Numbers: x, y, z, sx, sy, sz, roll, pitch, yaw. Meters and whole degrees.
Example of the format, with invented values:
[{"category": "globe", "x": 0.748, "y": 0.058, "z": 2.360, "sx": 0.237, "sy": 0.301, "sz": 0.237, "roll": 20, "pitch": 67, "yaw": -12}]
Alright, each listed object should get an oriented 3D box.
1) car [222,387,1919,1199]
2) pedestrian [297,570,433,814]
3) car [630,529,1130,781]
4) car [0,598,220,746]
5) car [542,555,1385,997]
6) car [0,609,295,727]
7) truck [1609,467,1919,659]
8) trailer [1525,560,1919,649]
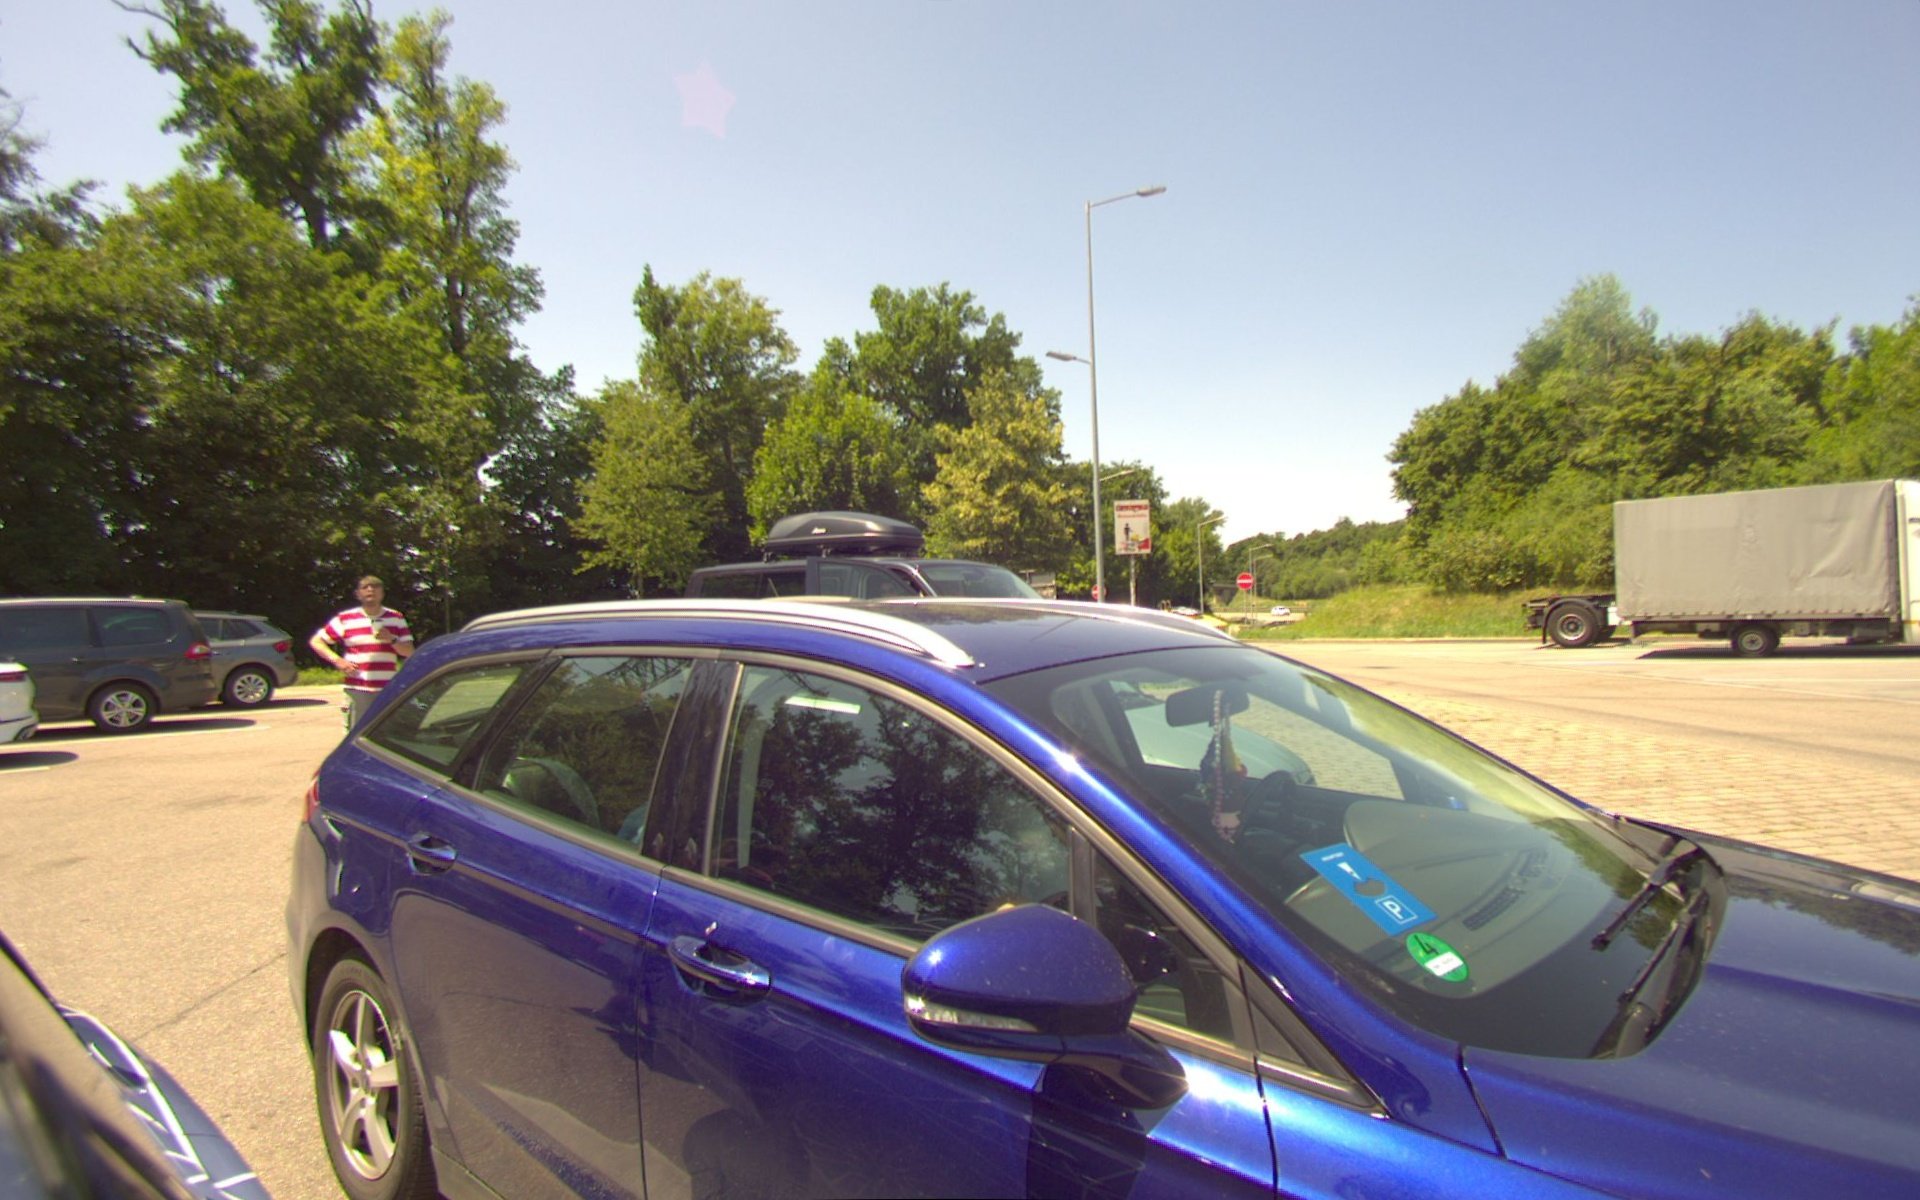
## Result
[{"category": "car", "x": 0.246, "y": 0.630, "z": 2.068, "sx": 4.569, "sy": 1.482, "sz": 1.735, "roll": -3, "pitch": 0, "yaw": 40}, {"category": "pedestrian", "x": -4.636, "y": 0.665, "z": 7.885, "sx": 0.744, "sy": 1.767, "sz": 0.786, "roll": -1, "pitch": 0, "yaw": -44}, {"category": "car", "x": -0.879, "y": 0.493, "z": 9.654, "sx": 4.558, "sy": 1.912, "sz": 1.740, "roll": -3, "pitch": 0, "yaw": 32}, {"category": "car", "x": -11.618, "y": 0.865, "z": 12.652, "sx": 3.767, "sy": 1.708, "sz": 1.654, "roll": -1, "pitch": 0, "yaw": -38}, {"category": "car", "x": -0.309, "y": 0.665, "z": 5.605, "sx": 4.569, "sy": 1.517, "sz": 1.735, "roll": -3, "pitch": 0, "yaw": 40}, {"category": "car", "x": -12.610, "y": 0.968, "z": 15.659, "sx": 3.767, "sy": 1.572, "sz": 1.654, "roll": -1, "pitch": 0, "yaw": -38}, {"category": "truck", "x": 16.794, "y": -0.662, "z": 19.006, "sx": 7.274, "sy": 3.269, "sz": 2.678, "roll": -4, "pitch": -1, "yaw": 42}, {"category": "trailer", "x": 17.719, "y": 0.142, "z": 23.103, "sx": 8.098, "sy": 1.638, "sz": 2.187, "roll": -4, "pitch": -1, "yaw": 41}]
